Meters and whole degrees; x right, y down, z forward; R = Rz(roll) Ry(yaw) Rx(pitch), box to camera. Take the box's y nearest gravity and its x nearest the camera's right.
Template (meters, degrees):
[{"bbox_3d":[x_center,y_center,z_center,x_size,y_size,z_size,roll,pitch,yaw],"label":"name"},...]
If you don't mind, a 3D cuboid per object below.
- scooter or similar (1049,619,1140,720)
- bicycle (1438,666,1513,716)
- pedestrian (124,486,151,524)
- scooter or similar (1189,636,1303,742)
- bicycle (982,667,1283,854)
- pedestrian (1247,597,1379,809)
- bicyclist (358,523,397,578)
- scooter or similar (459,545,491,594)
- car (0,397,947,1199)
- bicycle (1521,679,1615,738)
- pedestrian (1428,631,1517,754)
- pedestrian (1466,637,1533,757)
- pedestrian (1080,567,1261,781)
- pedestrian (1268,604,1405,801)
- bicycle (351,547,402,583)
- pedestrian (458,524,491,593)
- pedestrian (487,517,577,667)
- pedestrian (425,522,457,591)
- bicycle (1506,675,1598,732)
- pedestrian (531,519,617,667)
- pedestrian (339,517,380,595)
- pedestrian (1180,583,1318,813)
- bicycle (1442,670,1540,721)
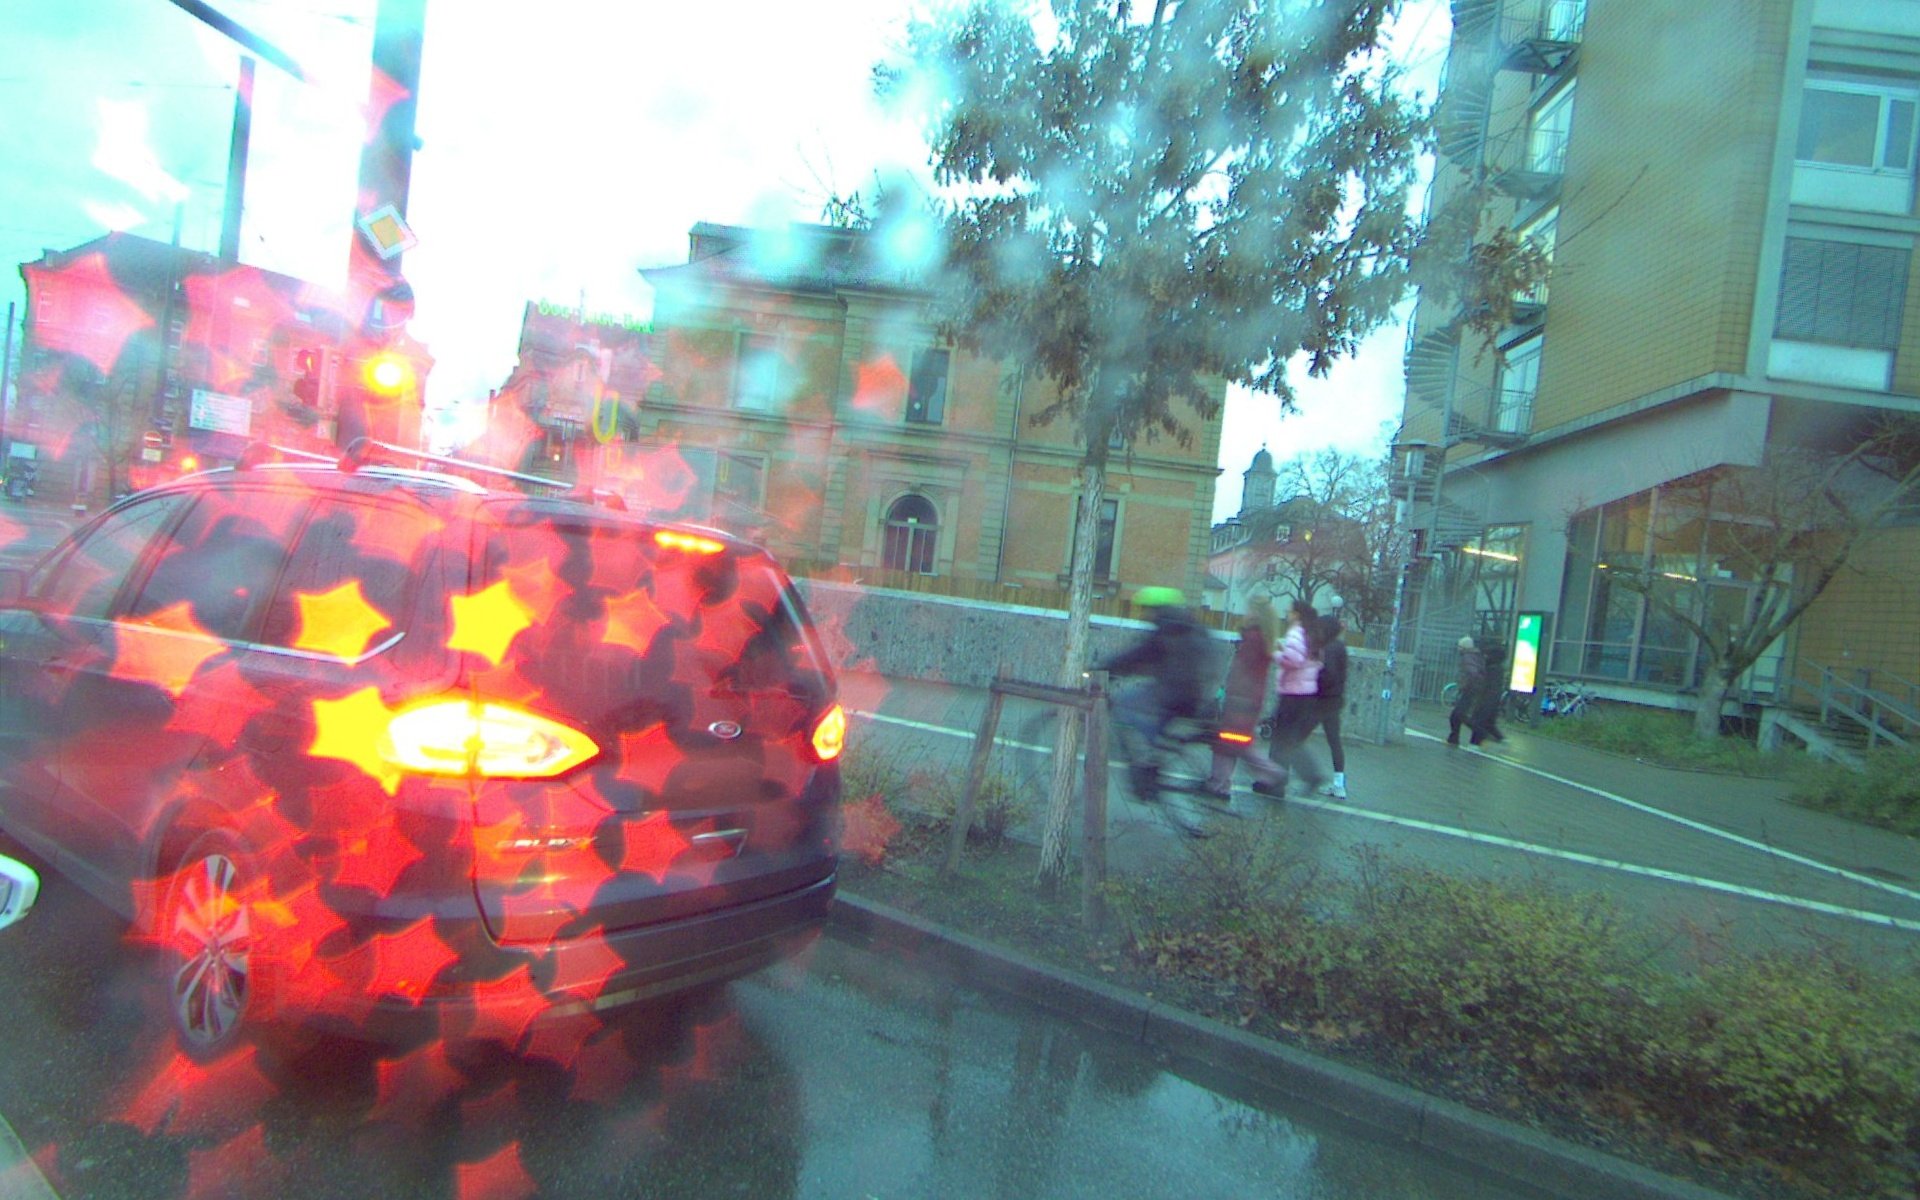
[{"bbox_3d":[1.852,0.943,14.025,0.507,1.229,1.375,6,1,-23],"label":"scooter or similar"},{"bbox_3d":[13.825,2.436,26.979,1.764,1.116,0.390,7,1,-7],"label":"bicycle"},{"bbox_3d":[-47.120,-5.424,57.660,0.774,2.039,0.731,6,1,3],"label":"pedestrian"},{"bbox_3d":[3.801,1.165,13.451,0.509,1.229,1.371,6,1,-31],"label":"scooter or similar"},{"bbox_3d":[1.192,1.088,7.314,2.064,0.959,0.561,6,1,38],"label":"bicycle"},{"bbox_3d":[3.045,0.874,8.710,0.663,1.711,0.606,4,4,-34],"label":"pedestrian"},{"bbox_3d":[-17.771,-1.497,30.716,0.684,1.595,0.777,6,1,-12],"label":"bicyclist"},{"bbox_3d":[-14.274,-0.895,29.606,0.671,1.334,0.820,6,1,-31],"label":"scooter or similar"},{"bbox_3d":[-2.431,0.336,4.016,4.353,1.822,1.779,7,0,34],"label":"car"},{"bbox_3d":[14.103,2.502,23.363,1.761,1.116,0.401,7,1,7],"label":"bicycle"},{"bbox_3d":[8.128,1.445,15.989,0.735,1.814,0.853,6,1,-5],"label":"pedestrian"},{"bbox_3d":[8.664,1.543,16.175,0.550,1.814,0.583,6,1,-3],"label":"pedestrian"},{"bbox_3d":[1.497,0.502,7.124,0.835,1.333,0.874,7,1,38],"label":"pedestrian"},{"bbox_3d":[3.522,0.948,9.437,0.713,1.709,0.753,5,1,-34],"label":"pedestrian"},{"bbox_3d":[-17.845,-1.052,30.802,0.684,0.993,2.009,6,0,-12],"label":"bicycle"},{"bbox_3d":[-14.613,-1.255,30.245,0.671,1.975,0.656,6,1,-31],"label":"pedestrian"},{"bbox_3d":[-5.996,-0.116,14.075,0.802,1.954,0.753,8,2,-34],"label":"pedestrian"},{"bbox_3d":[-15.403,-1.288,29.838,0.670,1.975,0.657,6,1,-29],"label":"pedestrian"},{"bbox_3d":[14.129,2.469,24.038,1.761,1.116,0.442,7,1,7],"label":"bicycle"},{"bbox_3d":[-5.708,-0.111,14.866,0.802,2.039,0.753,8,2,-34],"label":"pedestrian"},{"bbox_3d":[-15.968,-1.159,26.782,0.669,1.975,0.673,6,1,-22],"label":"pedestrian"},{"bbox_3d":[2.424,0.796,8.473,0.579,1.805,0.762,4,2,-33],"label":"pedestrian"},{"bbox_3d":[13.660,2.462,25.941,2.021,1.004,0.708,7,1,7],"label":"bicycle"}]
